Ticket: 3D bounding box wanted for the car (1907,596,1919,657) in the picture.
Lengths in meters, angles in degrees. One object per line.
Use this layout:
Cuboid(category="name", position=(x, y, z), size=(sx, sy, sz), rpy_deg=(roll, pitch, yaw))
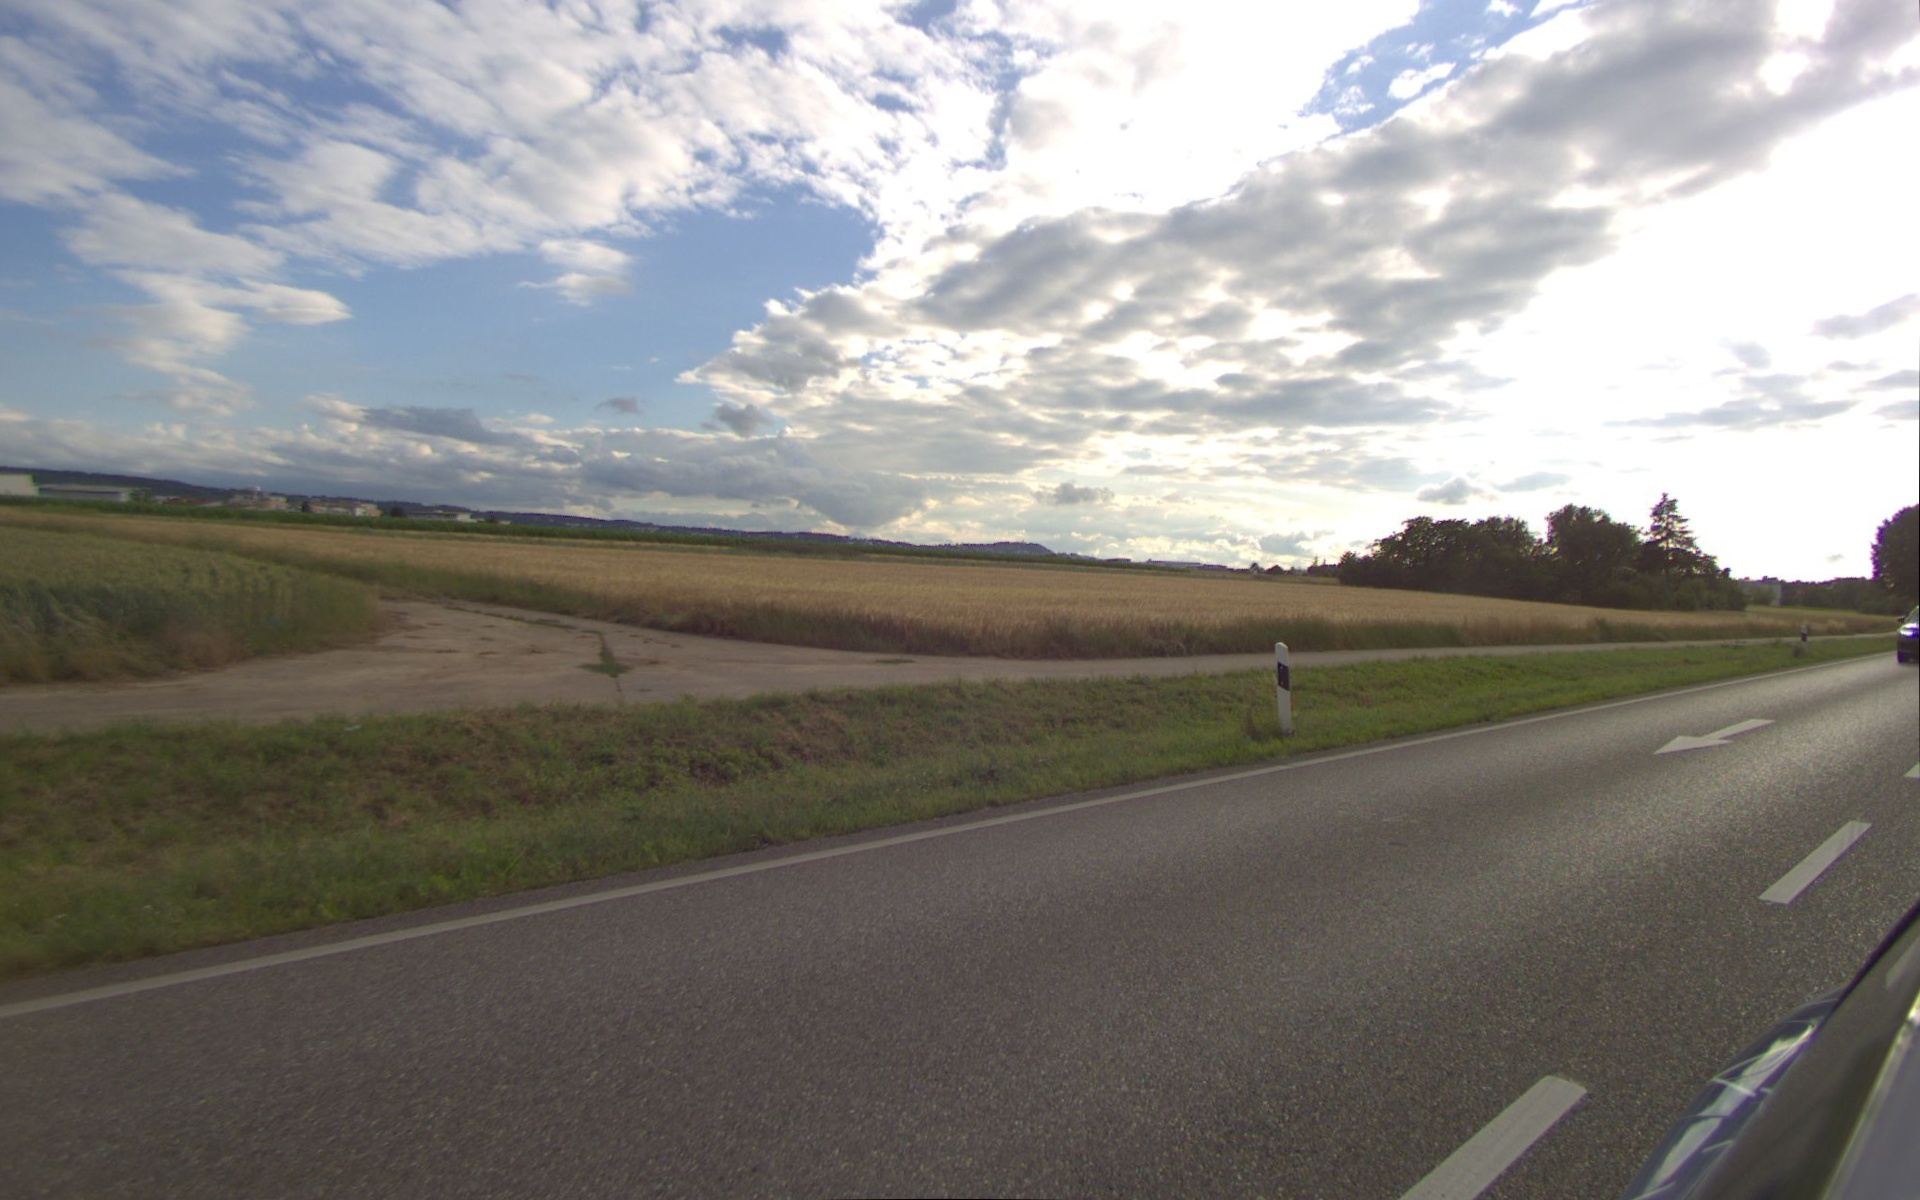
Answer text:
Cuboid(category="car", position=(28.310, 0.767, 28.588), size=(3.930, 1.666, 1.862), rpy_deg=(1, 0, -41))
